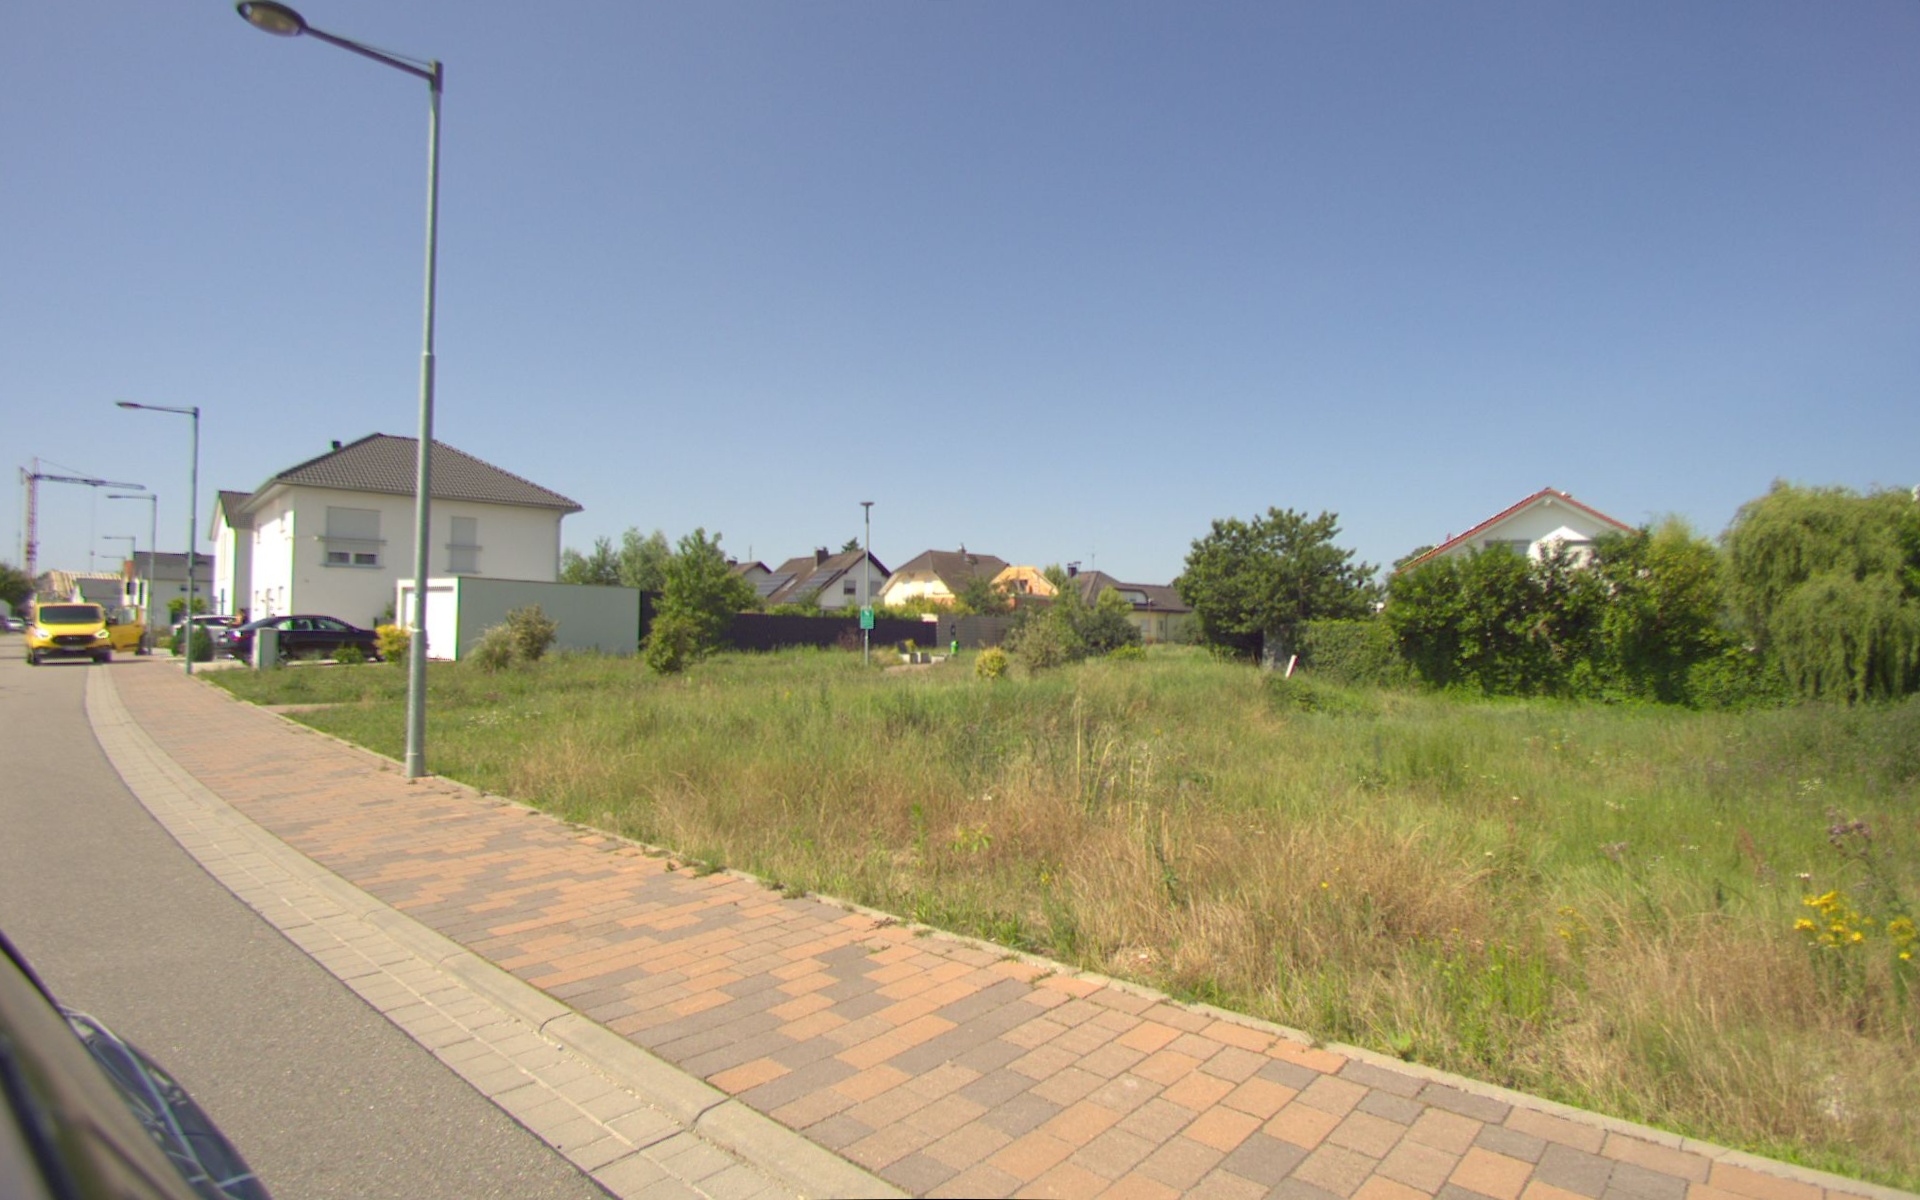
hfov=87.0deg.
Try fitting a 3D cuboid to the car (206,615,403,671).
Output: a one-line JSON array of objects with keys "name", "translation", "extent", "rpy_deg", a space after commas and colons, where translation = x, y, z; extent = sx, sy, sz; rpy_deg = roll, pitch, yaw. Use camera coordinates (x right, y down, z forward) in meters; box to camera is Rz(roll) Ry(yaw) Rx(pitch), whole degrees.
[{"name": "car", "translation": [-18.470, 1.166, 28.703], "extent": [1.745, 1.463, 4.354], "rpy_deg": [-1, -1, 35]}]

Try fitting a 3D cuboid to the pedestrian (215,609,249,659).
[{"name": "pedestrian", "translation": [-25.574, 1.181, 35.571], "extent": [0.917, 1.698, 0.539], "rpy_deg": [-1, -1, -32]}]

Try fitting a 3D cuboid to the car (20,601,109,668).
[{"name": "car", "translation": [-29.317, 1.095, 33.072], "extent": [1.862, 2.029, 4.844], "rpy_deg": [1, -2, -45]}]

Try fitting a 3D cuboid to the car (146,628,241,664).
[{"name": "car", "translation": [-41.297, 2.480, 54.545], "extent": [3.937, 1.866, 2.003], "rpy_deg": [2, -3, -40]}]

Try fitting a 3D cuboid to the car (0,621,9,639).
[{"name": "car", "translation": [-80.444, 2.456, 84.168], "extent": [1.742, 1.503, 4.006], "rpy_deg": [2, -2, -41]}]

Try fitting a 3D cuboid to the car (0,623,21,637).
[{"name": "car", "translation": [-92.199, 2.901, 98.163], "extent": [1.471, 1.408, 3.277], "rpy_deg": [2, -2, -41]}]
